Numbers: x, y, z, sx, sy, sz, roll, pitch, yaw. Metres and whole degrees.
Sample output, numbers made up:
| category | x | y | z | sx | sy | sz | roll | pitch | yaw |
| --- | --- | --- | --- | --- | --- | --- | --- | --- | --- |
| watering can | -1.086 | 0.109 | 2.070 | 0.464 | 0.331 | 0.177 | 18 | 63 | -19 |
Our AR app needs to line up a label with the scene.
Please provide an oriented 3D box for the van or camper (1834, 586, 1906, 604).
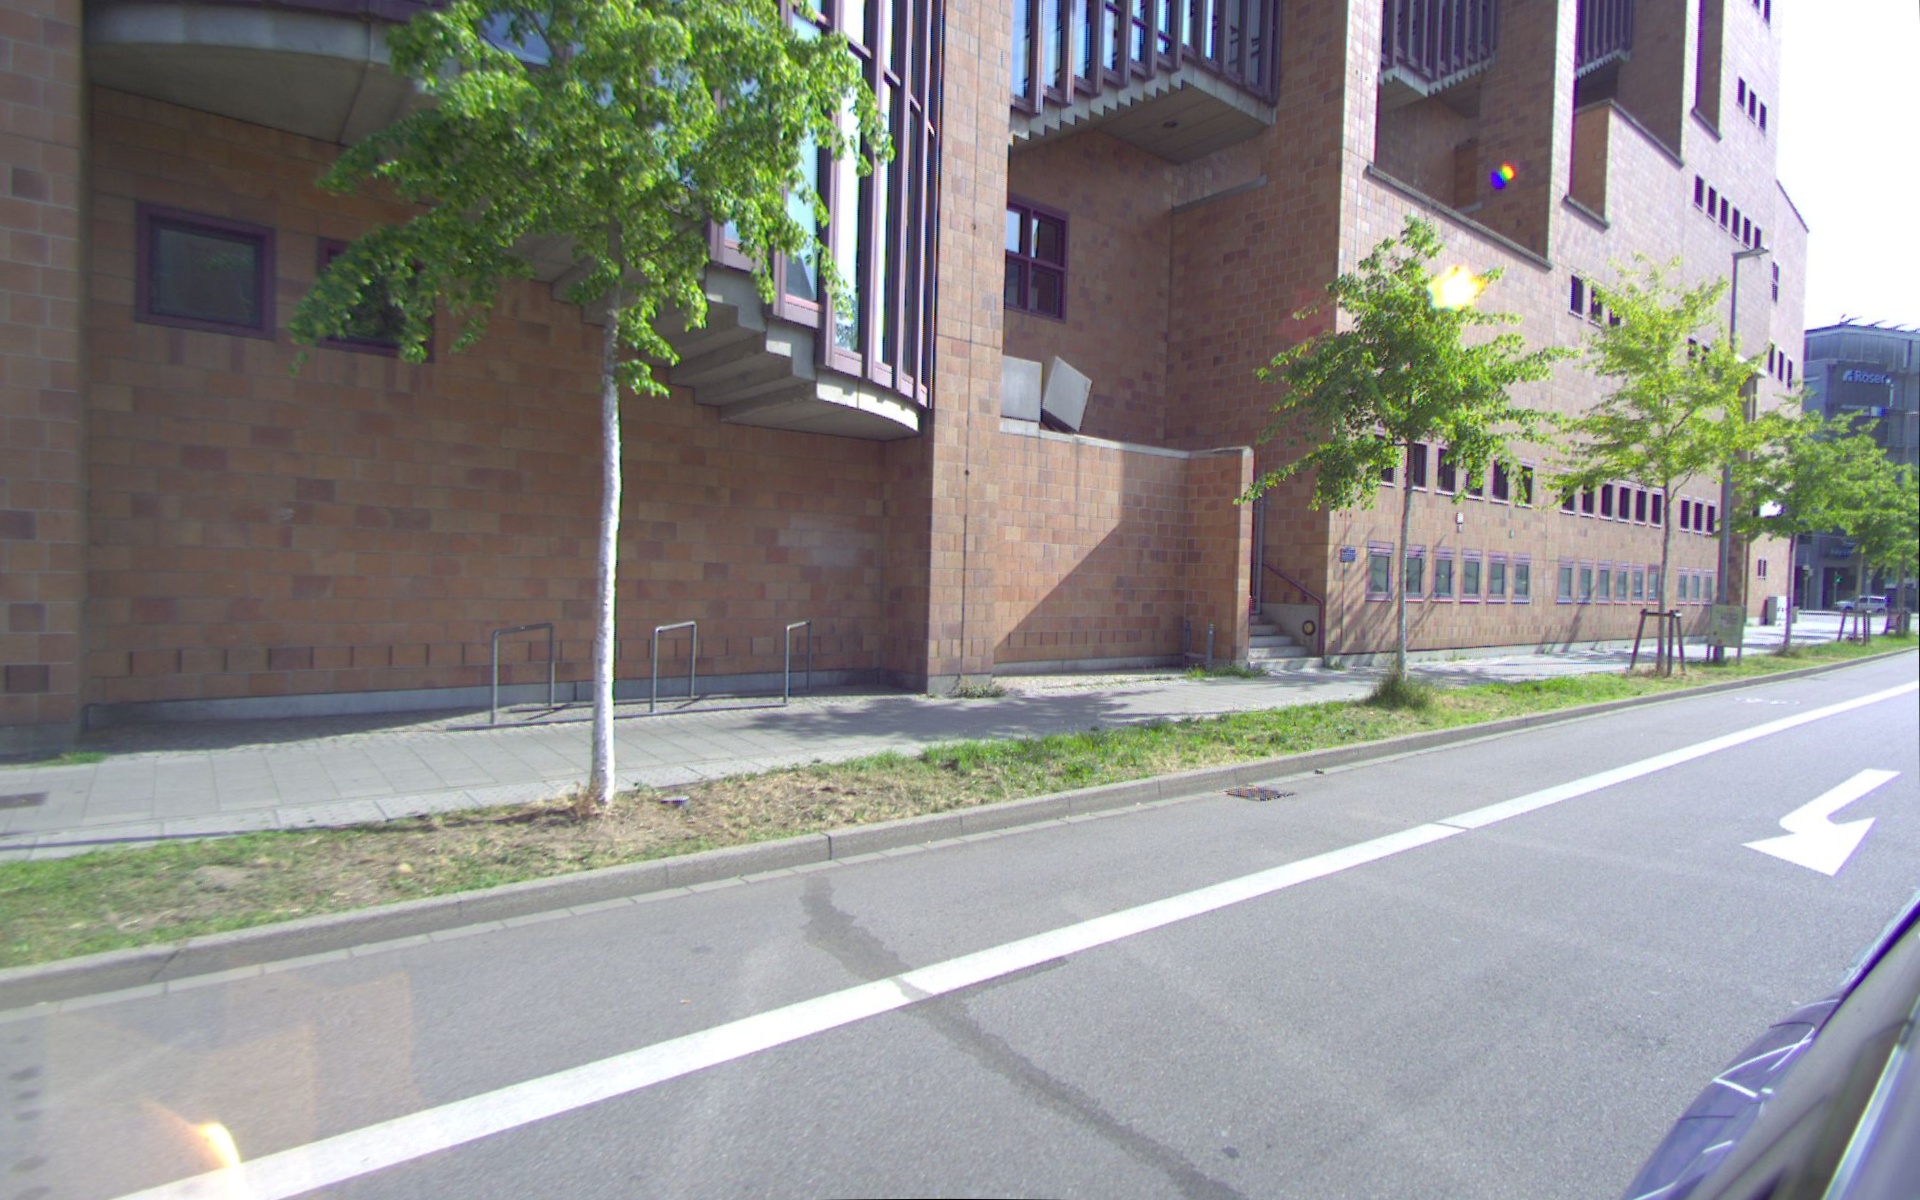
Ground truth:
| category | x | y | z | sx | sy | sz | roll | pitch | yaw |
| --- | --- | --- | --- | --- | --- | --- | --- | --- | --- |
| van or camper | 74.482 | -0.419 | 82.886 | 3.951 | 1.329 | 1.916 | 3 | 2 | 29 |
